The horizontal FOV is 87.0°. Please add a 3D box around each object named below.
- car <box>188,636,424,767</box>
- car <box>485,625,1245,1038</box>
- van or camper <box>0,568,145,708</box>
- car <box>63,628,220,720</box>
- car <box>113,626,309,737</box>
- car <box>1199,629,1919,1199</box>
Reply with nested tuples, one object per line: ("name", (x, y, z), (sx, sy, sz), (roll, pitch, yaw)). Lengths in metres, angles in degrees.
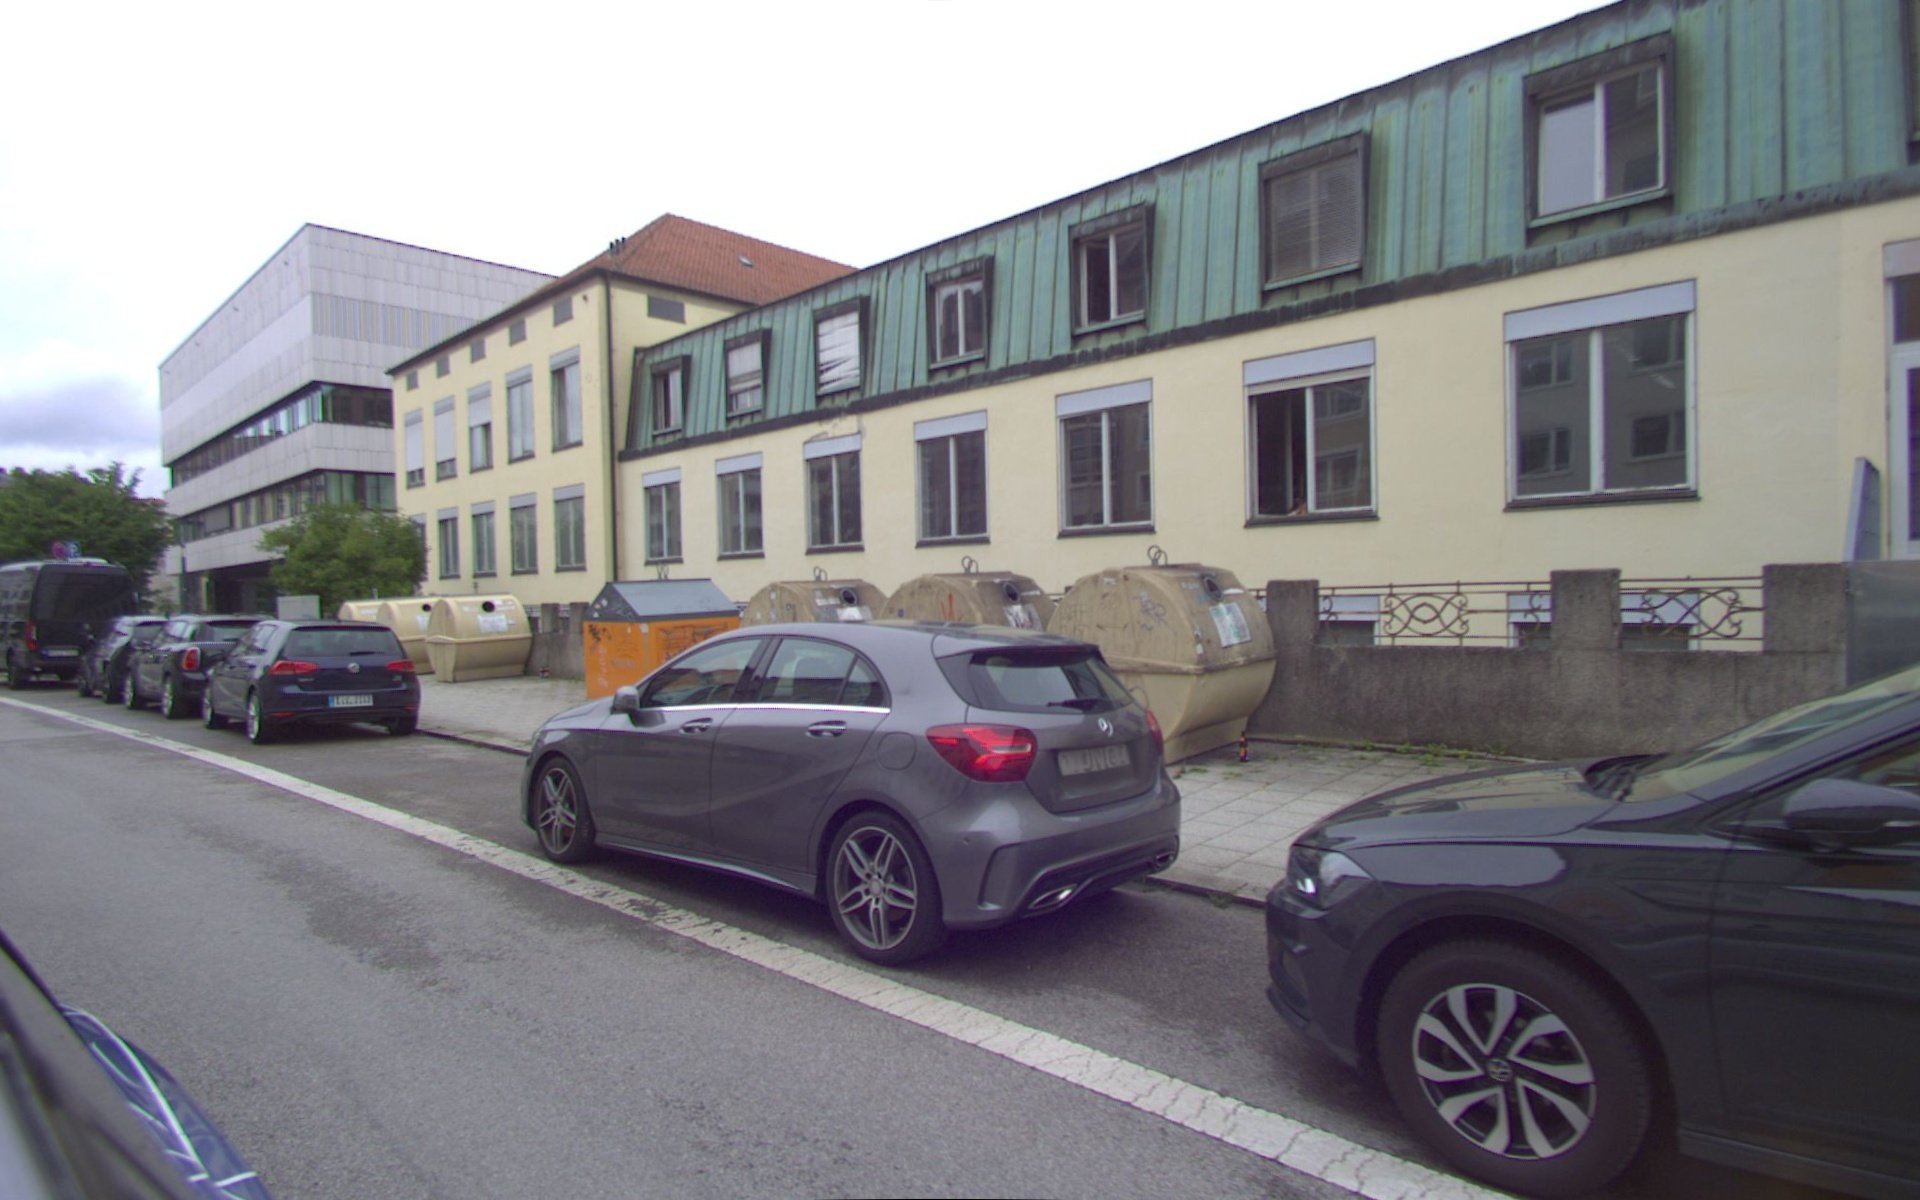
("car", (-8.505, 1.200, 13.022), (4.002, 1.416, 1.676), (-2, -4, 45))
("car", (-0.760, 0.893, 5.540), (4.125, 1.416, 1.775), (-2, -4, 41))
("van or camper", (-20.788, 0.851, 22.978), (5.560, 2.829, 2.117), (-2, -2, 36))
("car", (-15.574, 1.359, 19.199), (3.836, 1.574, 1.621), (-2, -4, 41))
("car", (-12.100, 1.241, 16.263), (3.865, 1.574, 1.678), (-2, -4, 41))
("car", (2.738, 0.794, 2.271), (3.986, 1.416, 1.658), (-2, -4, 39))
